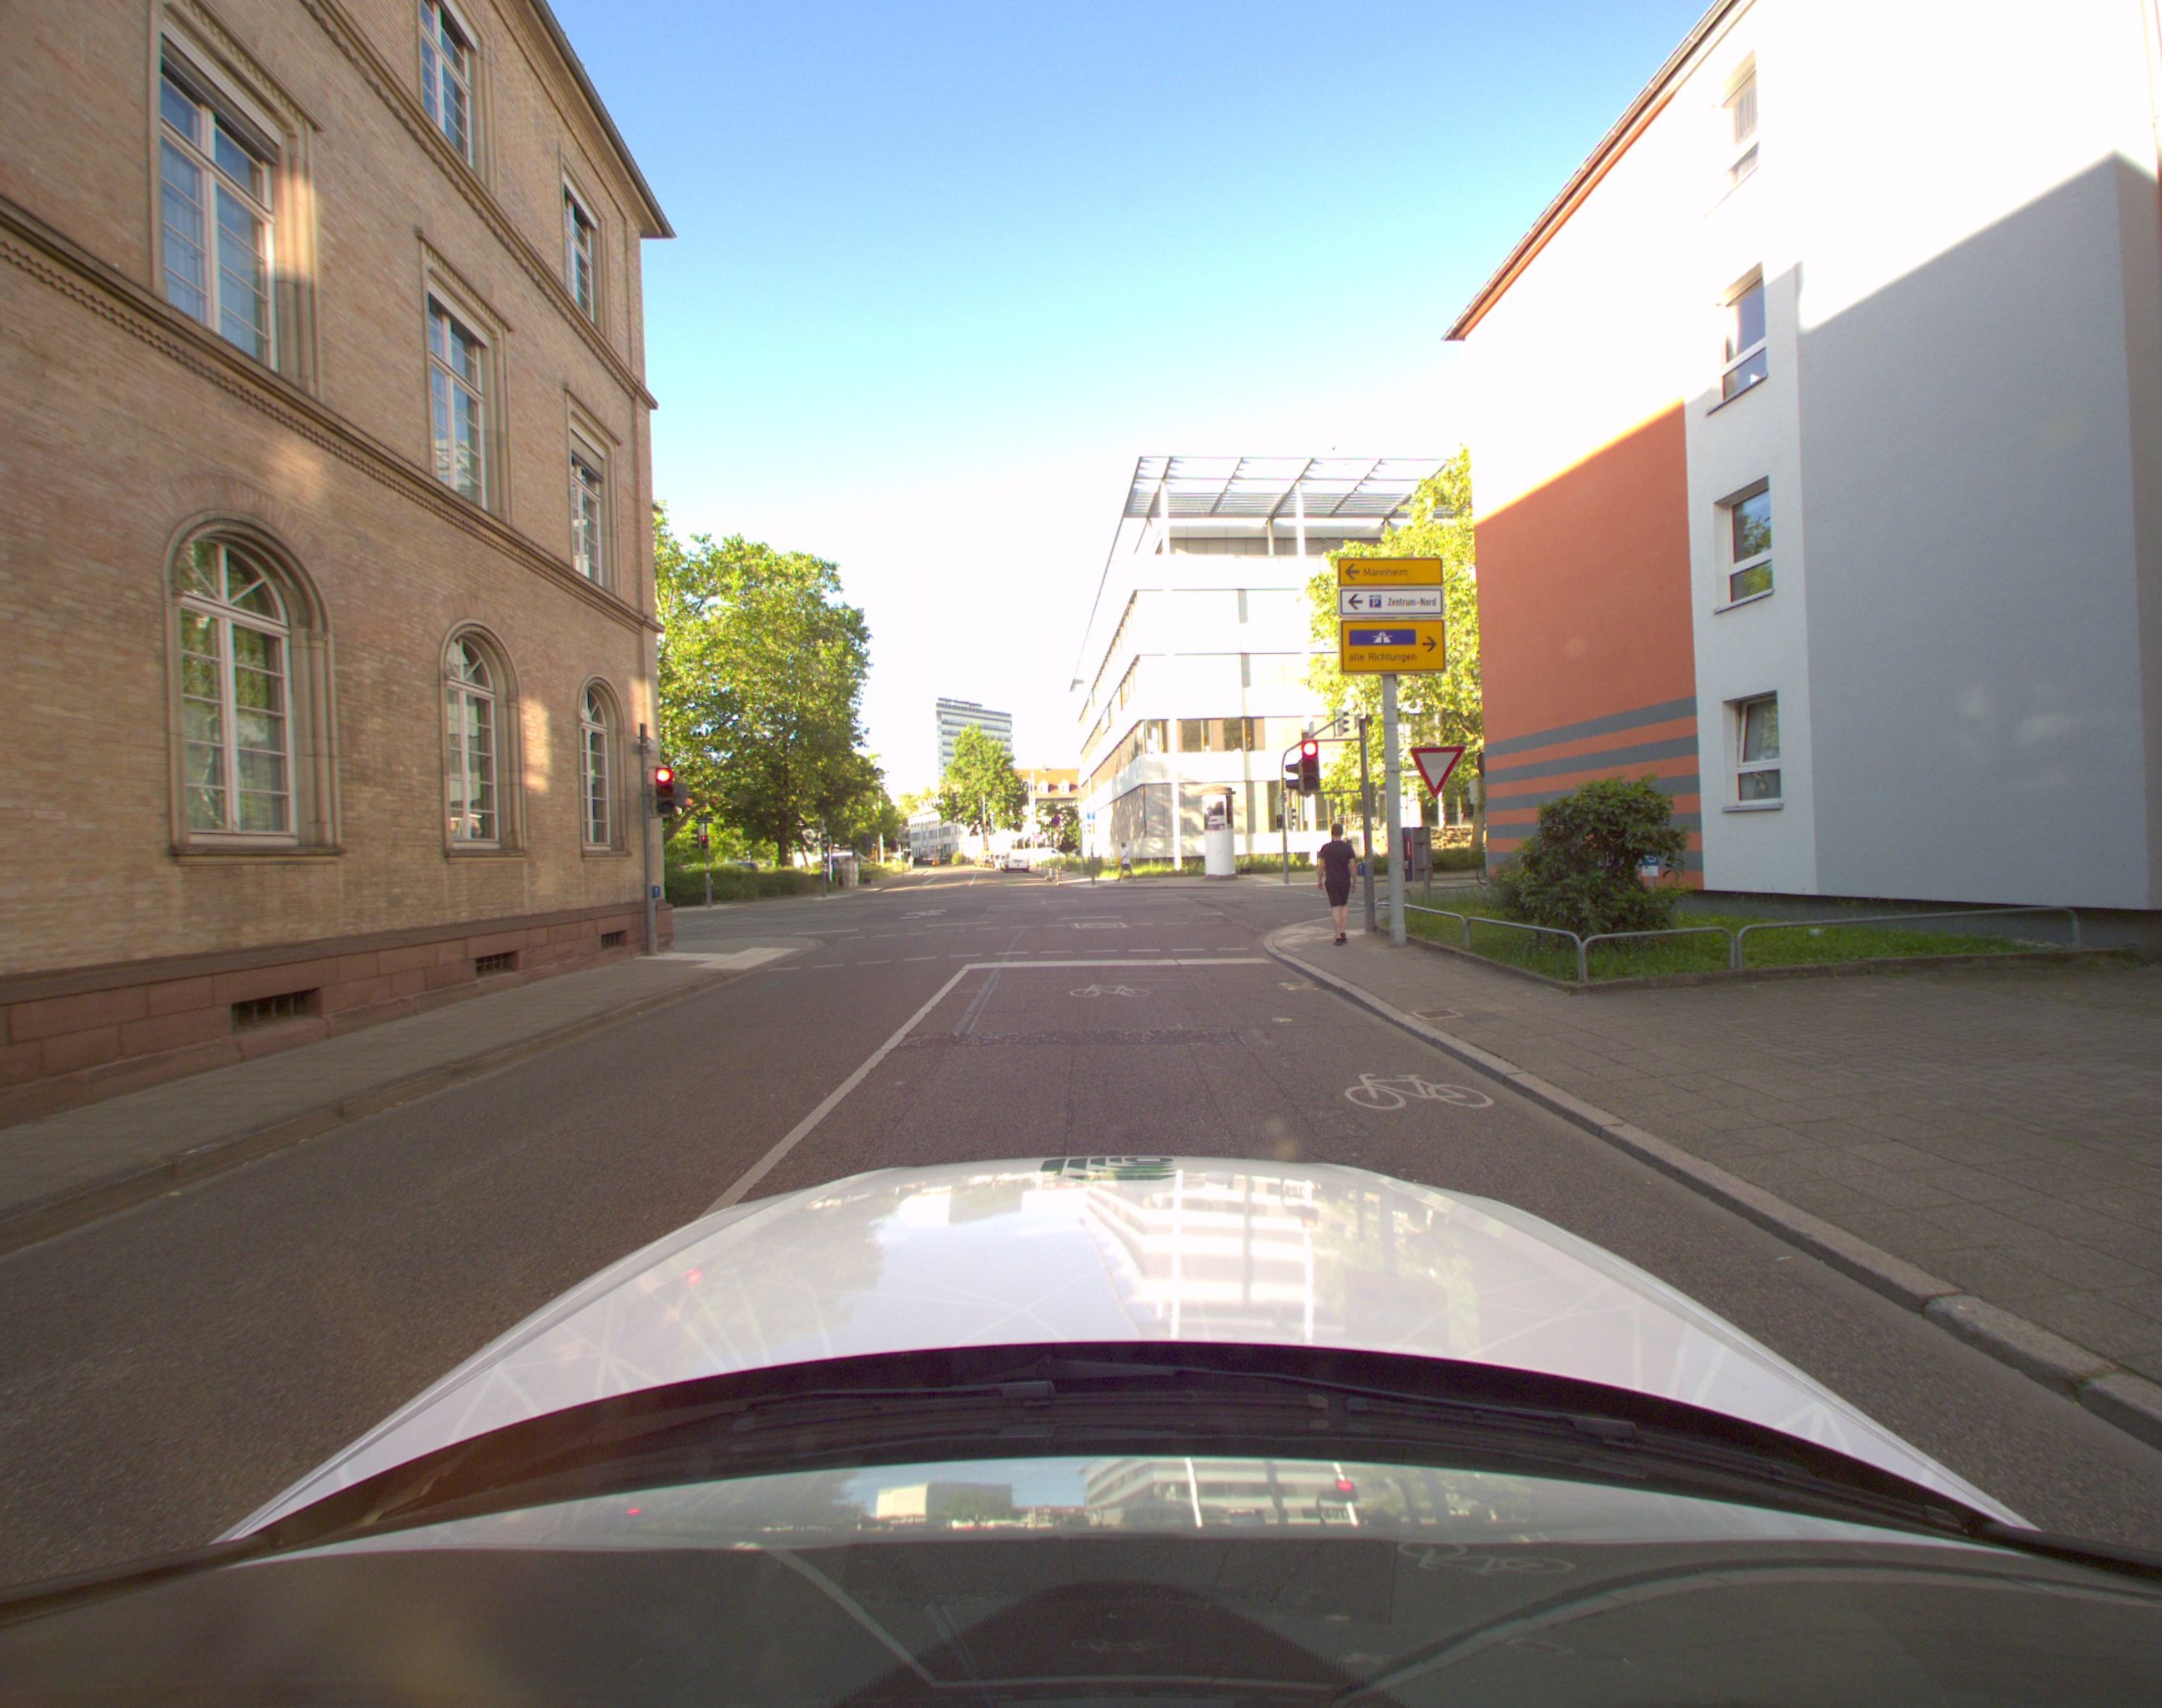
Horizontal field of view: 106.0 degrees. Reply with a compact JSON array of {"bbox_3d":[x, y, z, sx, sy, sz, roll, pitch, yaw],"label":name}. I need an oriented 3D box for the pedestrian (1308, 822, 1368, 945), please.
[{"bbox_3d":[3.874,0.434,12.327,0.697,1.810,0.720,0,-1,2],"label":"pedestrian"}]

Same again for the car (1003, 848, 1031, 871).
[{"bbox_3d":[-5.179,0.458,65.124,1.992,1.725,4.640,0,-1,-7],"label":"car"}]

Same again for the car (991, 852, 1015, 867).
[{"bbox_3d":[-7.852,0.572,81.632,1.994,1.499,4.270,0,-1,-11],"label":"car"}]

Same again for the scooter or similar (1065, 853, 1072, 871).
[{"bbox_3d":[-0.920,0.573,58.482,0.436,1.256,1.418,-2,0,-2],"label":"scooter or similar"}]

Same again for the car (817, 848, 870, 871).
[{"bbox_3d":[-22.033,0.515,75.773,4.441,2.014,1.995,0,-1,-8],"label":"car"}]

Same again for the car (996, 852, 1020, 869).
[{"bbox_3d":[-6.929,0.596,77.159,1.993,1.499,4.638,0,0,-8],"label":"car"}]

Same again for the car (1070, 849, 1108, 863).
[{"bbox_3d":[1.011,0.239,104.963,4.644,1.725,1.990,0,-1,-15],"label":"car"}]

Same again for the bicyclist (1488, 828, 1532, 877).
[{"bbox_3d":[13.769,-0.039,26.167,1.069,1.527,0.593,-2,0,7],"label":"bicyclist"}]

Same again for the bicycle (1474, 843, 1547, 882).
[{"bbox_3d":[13.788,0.276,26.158,1.953,1.152,0.593,-2,0,7],"label":"bicycle"}]

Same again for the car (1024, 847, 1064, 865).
[{"bbox_3d":[-4.695,0.255,103.256,4.802,2.159,1.989,0,-1,-16],"label":"car"}]

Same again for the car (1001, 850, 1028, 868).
[{"bbox_3d":[-5.855,0.468,71.359,1.993,1.499,4.638,0,0,-8],"label":"car"}]

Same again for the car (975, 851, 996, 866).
[{"bbox_3d":[-11.312,0.521,96.309,1.995,1.725,4.633,0,-1,-11],"label":"car"}]

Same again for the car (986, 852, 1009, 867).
[{"bbox_3d":[-8.894,0.576,86.385,1.994,1.499,4.635,0,0,-10],"label":"car"}]

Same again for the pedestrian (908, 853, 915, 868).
[{"bbox_3d":[-18.599,0.717,89.395,0.700,1.587,0.633,0,-1,-14],"label":"pedestrian"}]

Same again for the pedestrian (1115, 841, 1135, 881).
[{"bbox_3d":[2.049,0.318,37.902,0.911,1.869,0.742,0,-1,1],"label":"pedestrian"}]

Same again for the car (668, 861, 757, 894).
[{"bbox_3d":[-17.088,1.087,37.907,3.407,1.457,1.646,0,-1,-8],"label":"car"}]

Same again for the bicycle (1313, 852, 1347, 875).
[{"bbox_3d":[11.002,0.423,36.035,0.381,1.008,1.416,-2,0,-40],"label":"bicycle"}]
